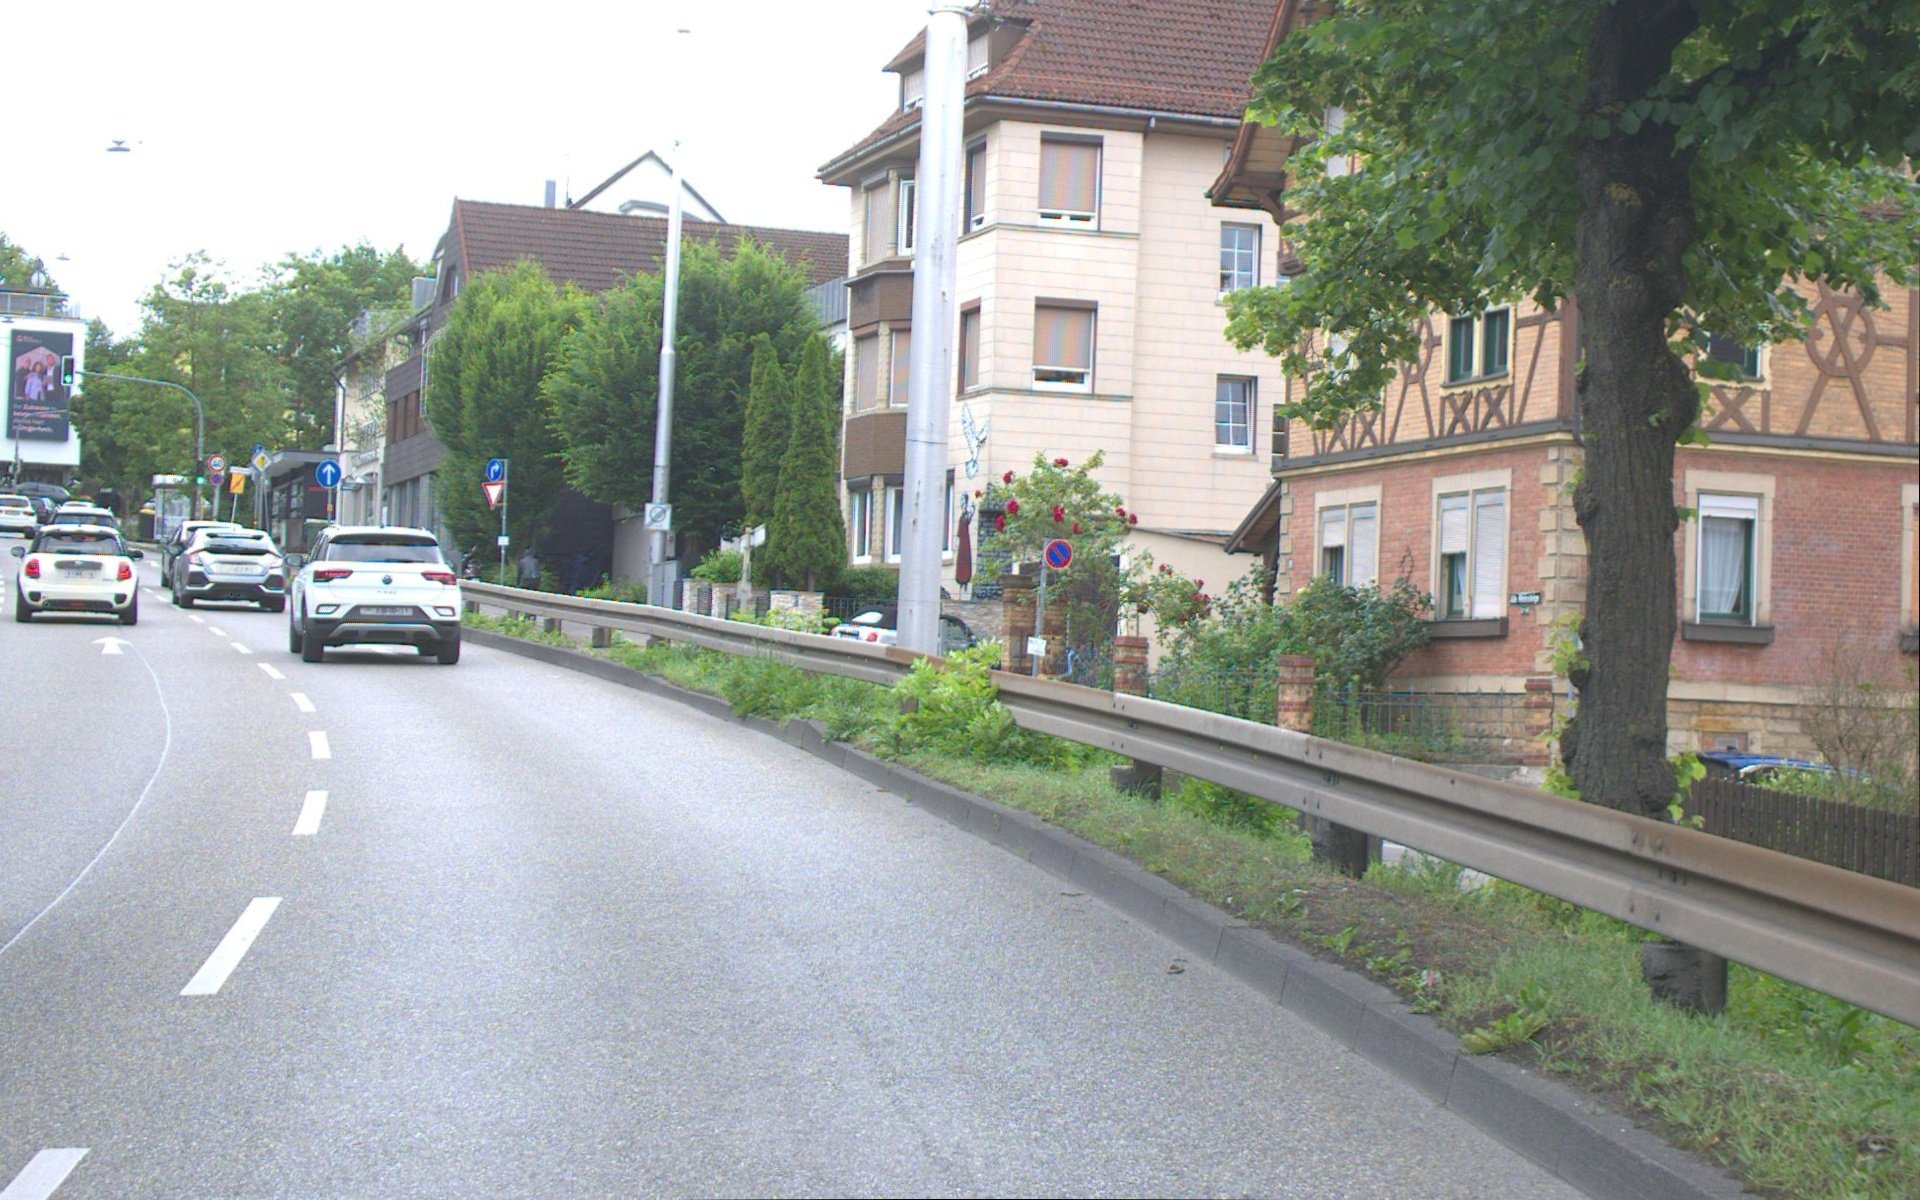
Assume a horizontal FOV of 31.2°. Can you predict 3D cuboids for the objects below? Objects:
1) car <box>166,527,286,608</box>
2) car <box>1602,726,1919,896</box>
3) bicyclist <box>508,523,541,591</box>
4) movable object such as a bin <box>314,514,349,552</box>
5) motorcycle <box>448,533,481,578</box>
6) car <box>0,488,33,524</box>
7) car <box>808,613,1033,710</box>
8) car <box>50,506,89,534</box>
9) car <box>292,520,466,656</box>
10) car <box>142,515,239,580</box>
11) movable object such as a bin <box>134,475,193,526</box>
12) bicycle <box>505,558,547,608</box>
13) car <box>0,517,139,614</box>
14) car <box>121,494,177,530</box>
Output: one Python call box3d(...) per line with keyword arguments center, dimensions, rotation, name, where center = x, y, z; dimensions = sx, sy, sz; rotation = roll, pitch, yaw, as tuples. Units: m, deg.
box3d(center=(-12.871, -0.593, 60.175), dimensions=(1.722, 1.371, 3.458), rotation=(0, 1, -18), name="car")
box3d(center=(9.692, 2.437, 39.416), dimensions=(3.985, 1.568, 2.001), rotation=(5, 1, -18), name="car")
box3d(center=(-9.789, -0.971, 77.215), dimensions=(0.566, 1.519, 0.959), rotation=(0, 2, -18), name="bicyclist")
box3d(center=(-24.889, -2.666, 136.094), dimensions=(1.195, 1.403, 0.711), rotation=(4, 1, -17), name="movable object such as a bin")
box3d(center=(-13.585, -1.231, 94.256), dimensions=(0.608, 1.158, 2.041), rotation=(1, 2, -16), name="motorcycle")
box3d(center=(-36.334, -3.583, 131.280), dimensions=(1.722, 1.371, 3.458), rotation=(0, 1, -17), name="car")
box3d(center=(-0.703, 1.124, 62.239), dimensions=(3.602, 1.430, 1.705), rotation=(5, 1, -32), name="car")
box3d(center=(-43.348, -3.883, 167.288), dimensions=(1.722, 1.371, 3.458), rotation=(0, 1, -17), name="car")
box3d(center=(-6.805, -0.167, 40.020), dimensions=(1.796, 1.513, 3.458), rotation=(0, 1, -13), name="car")
box3d(center=(-16.585, -1.142, 74.010), dimensions=(1.722, 1.371, 3.458), rotation=(0, 1, -18), name="car")
box3d(center=(-31.805, -3.973, 137.244), dimensions=(1.891, 1.863, 1.529), rotation=(4, 1, -25), name="movable object such as a bin")
box3d(center=(-9.762, -0.387, 77.309), dimensions=(0.566, 1.059, 2.006), rotation=(0, 2, -18), name="bicycle")
box3d(center=(-13.151, -0.522, 50.467), dimensions=(1.722, 1.371, 3.457), rotation=(0, 1, -21), name="car")
box3d(center=(-45.390, -4.935, 192.556), dimensions=(1.994, 2.007, 4.000), rotation=(0, 1, 3), name="car")
